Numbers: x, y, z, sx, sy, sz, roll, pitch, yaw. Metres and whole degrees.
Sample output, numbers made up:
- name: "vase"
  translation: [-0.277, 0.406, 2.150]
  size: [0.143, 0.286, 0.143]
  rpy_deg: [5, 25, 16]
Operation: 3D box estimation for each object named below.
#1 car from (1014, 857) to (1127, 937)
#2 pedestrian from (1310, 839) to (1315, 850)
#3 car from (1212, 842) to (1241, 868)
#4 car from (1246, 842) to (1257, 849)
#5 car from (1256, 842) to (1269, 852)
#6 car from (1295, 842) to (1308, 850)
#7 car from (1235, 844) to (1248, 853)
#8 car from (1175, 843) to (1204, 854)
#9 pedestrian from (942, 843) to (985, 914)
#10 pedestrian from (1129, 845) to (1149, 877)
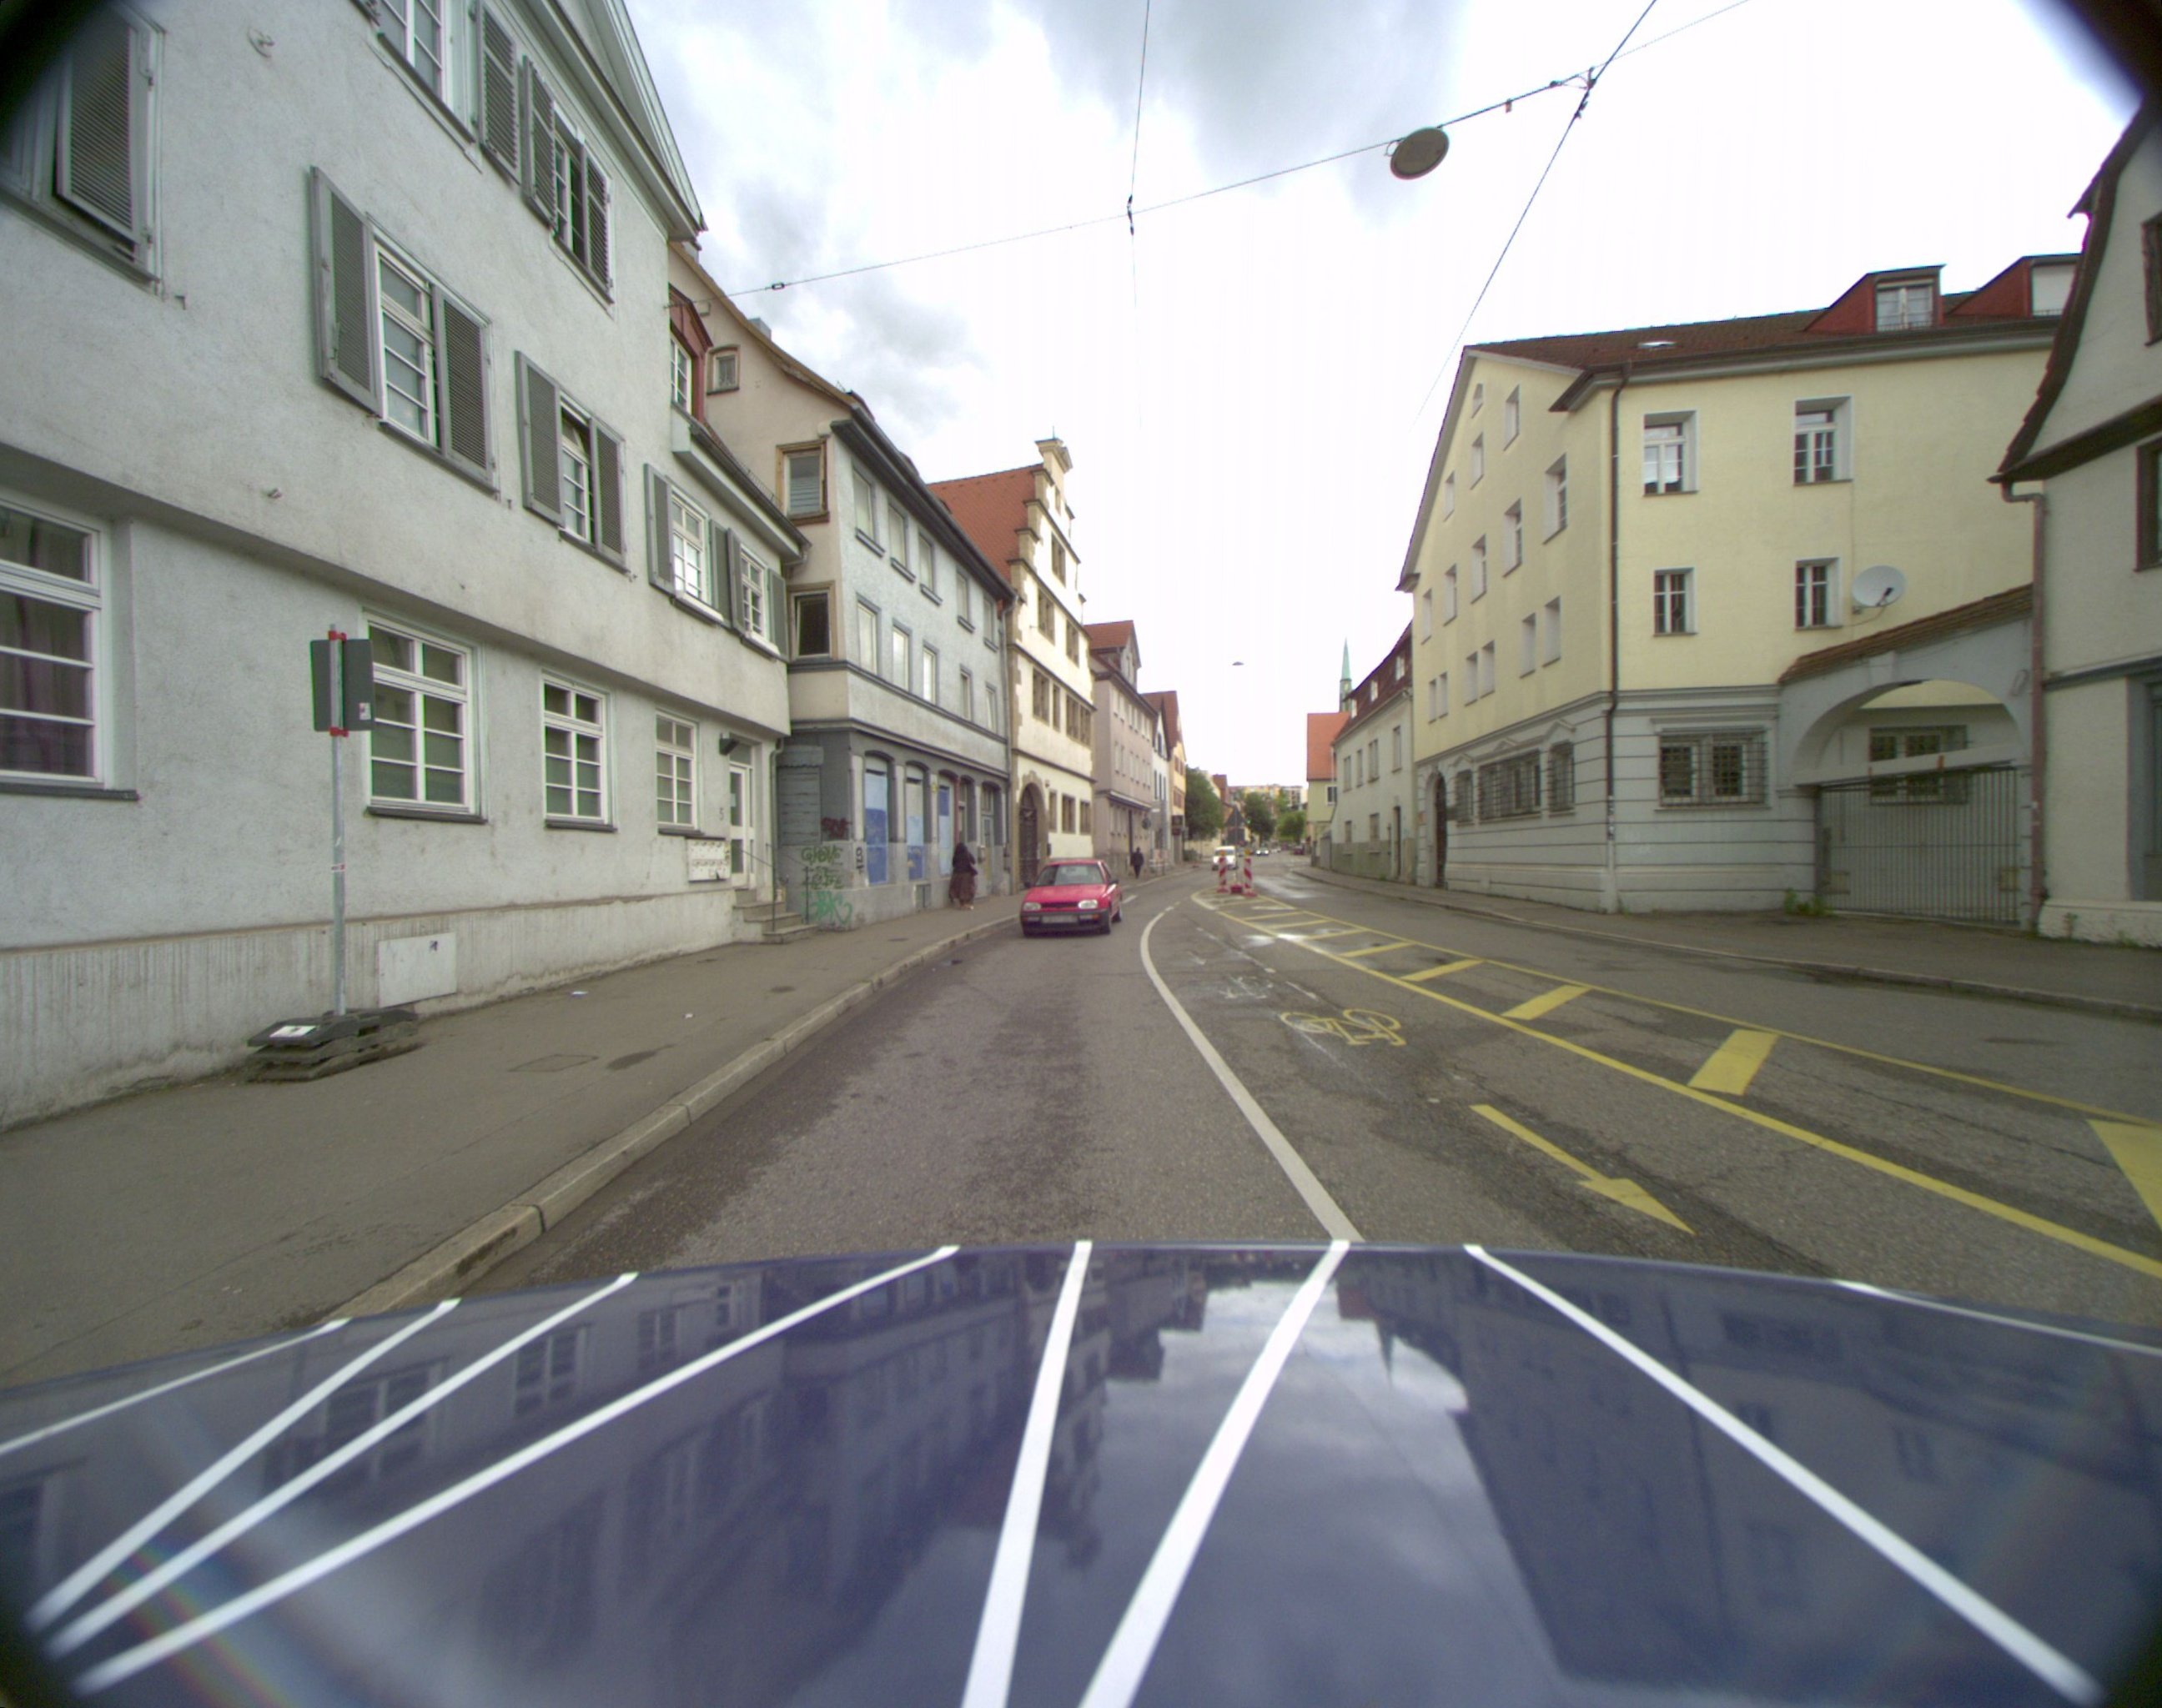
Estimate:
- name: "car"
  translation: [-0.068, 0.783, 15.561]
  size: [1.684, 1.418, 4.024]
  rpy_deg: [-1, -1, 8]
- name: "pedestrian"
  translation: [45.430, -1.841, 149.006]
  size: [0.835, 2.002, 0.846]
  rpy_deg: [-1, 0, 13]
- name: "car"
  translation: [11.121, 0.041, 57.787]
  size: [1.996, 1.777, 4.471]
  rpy_deg: [0, 2, 13]
- name: "car"
  translation: [34.601, -1.761, 154.194]
  size: [1.819, 1.380, 4.005]
  rpy_deg: [0, 1, 17]
- name: "car"
  translation: [31.573, -1.222, 131.864]
  size: [1.996, 1.669, 4.004]
  rpy_deg: [-1, 1, 15]
- name: "car"
  translation: [42.613, -1.563, 146.773]
  size: [2.210, 1.668, 4.502]
  rpy_deg: [0, 1, 14]
- name: "car"
  translation: [28.283, -1.028, 133.591]
  size: [2.031, 1.546, 4.004]
  rpy_deg: [0, 1, 14]
- name: "car"
  translation: [16.265, -0.808, 113.595]
  size: [3.992, 1.455, 2.002]
  rpy_deg: [-1, 1, 17]
- name: "pedestrian"
  translation: [-2.859, 0.576, 18.502]
  size: [0.756, 1.658, 0.810]
  rpy_deg: [2, 1, 10]
- name: "pedestrian"
  translation: [3.074, 0.371, 40.174]
  size: [0.833, 1.646, 0.945]
  rpy_deg: [-1, 0, 15]
